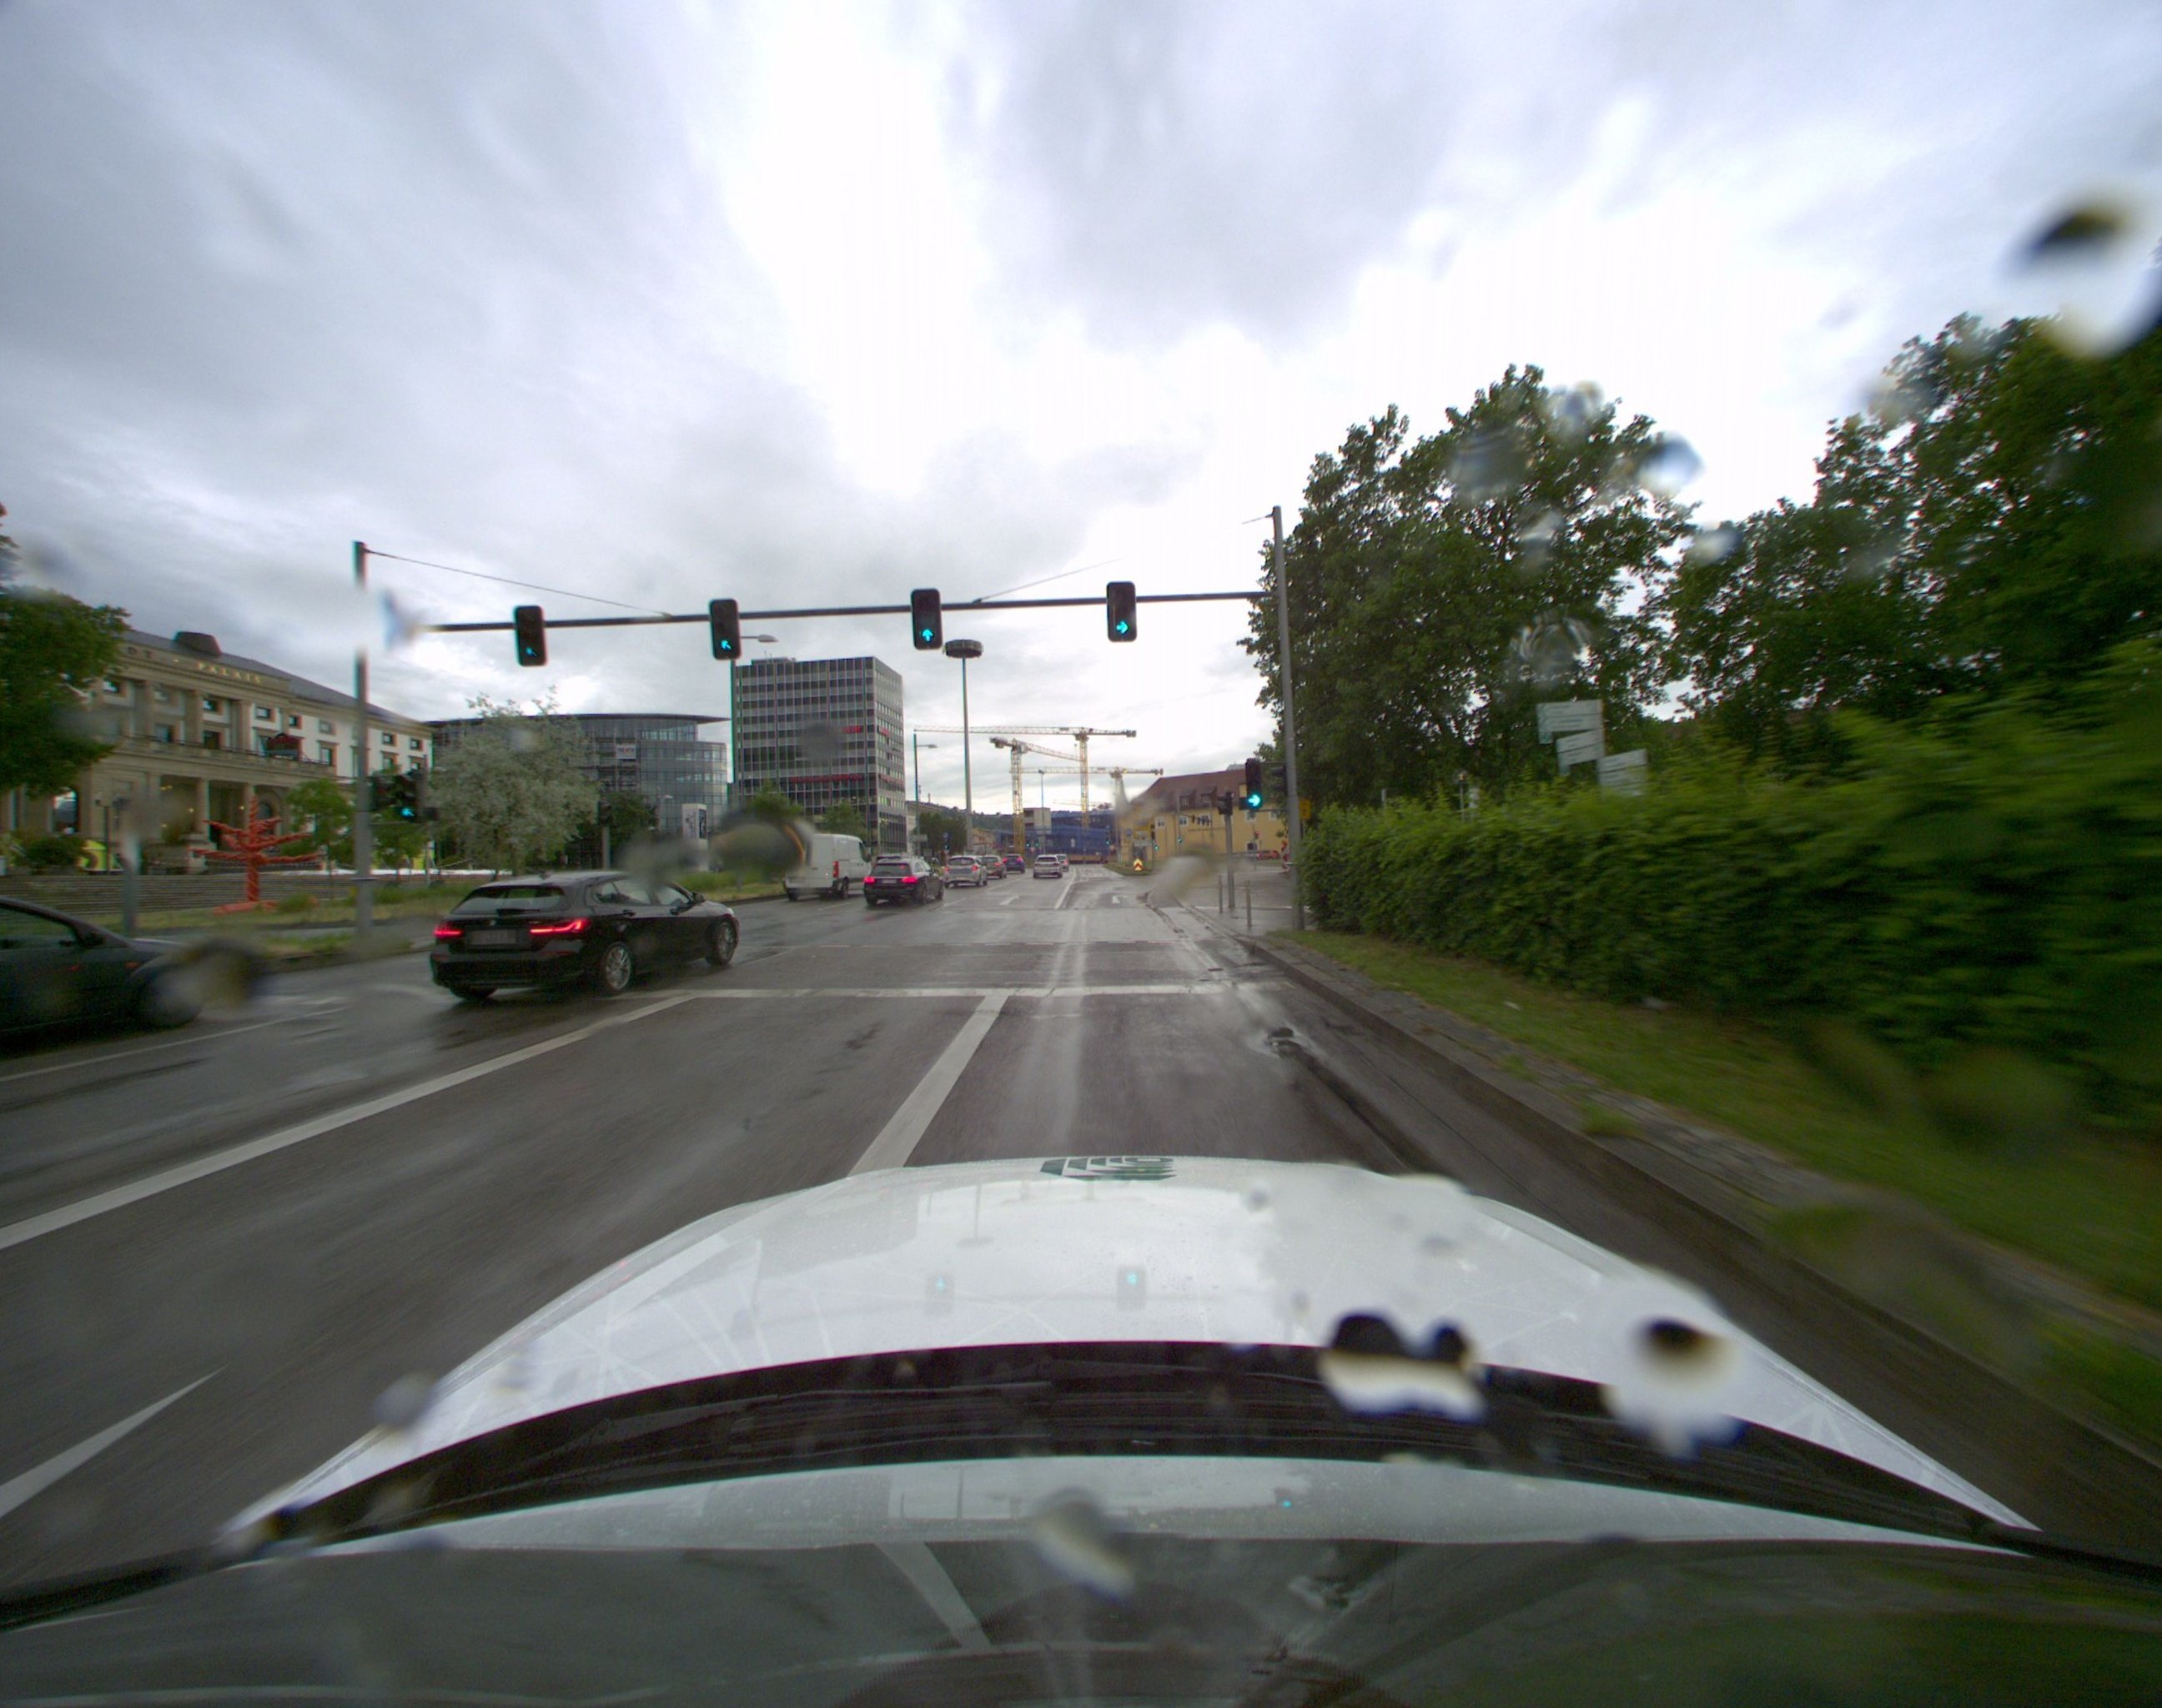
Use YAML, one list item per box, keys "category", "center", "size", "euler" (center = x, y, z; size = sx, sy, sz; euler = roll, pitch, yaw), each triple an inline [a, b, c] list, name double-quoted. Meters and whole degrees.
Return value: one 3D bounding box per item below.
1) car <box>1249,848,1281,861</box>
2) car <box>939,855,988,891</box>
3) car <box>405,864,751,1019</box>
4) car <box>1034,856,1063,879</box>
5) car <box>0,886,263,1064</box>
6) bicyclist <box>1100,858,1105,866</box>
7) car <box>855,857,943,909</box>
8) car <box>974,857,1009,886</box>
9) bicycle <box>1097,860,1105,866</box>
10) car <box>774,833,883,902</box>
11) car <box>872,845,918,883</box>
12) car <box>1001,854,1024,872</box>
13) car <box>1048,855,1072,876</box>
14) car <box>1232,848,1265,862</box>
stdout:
- category: "car"
  center: [22.349, 0.104, 98.866]
  size: [3.368, 1.472, 1.662]
  euler: [-2, -2, 25]
- category: "car"
  center: [-5.561, 0.908, 38.952]
  size: [1.875, 1.653, 3.456]
  euler: [-1, -1, -1]
- category: "car"
  center: [-6.009, 0.923, 10.458]
  size: [1.747, 1.471, 4.222]
  euler: [-1, 0, 0]
- category: "car"
  center: [-2.009, 0.853, 50.738]
  size: [1.437, 1.359, 2.415]
  euler: [-1, -1, 5]
- category: "car"
  center: [-9.595, 1.020, 6.774]
  size: [1.536, 1.415, 3.903]
  euler: [-1, -1, 2]
- category: "bicyclist"
  center: [3.602, 1.388, 139.420]
  size: [0.705, 1.275, 0.631]
  euler: [-1, -2, -14]
- category: "car"
  center: [-5.711, 0.869, 26.014]
  size: [1.822, 1.494, 3.402]
  euler: [-1, 0, 4]
- category: "car"
  center: [-5.548, 1.099, 50.863]
  size: [1.710, 1.727, 3.495]
  euler: [-1, -1, 2]
- category: "bicycle"
  center: [3.484, 1.560, 139.621]
  size: [0.881, 1.010, 1.983]
  euler: [-1, -1, -14]
- category: "car"
  center: [-9.180, 0.519, 30.143]
  size: [2.283, 2.314, 5.008]
  euler: [-1, -1, 2]
- category: "car"
  center: [-8.983, 0.504, 39.526]
  size: [1.459, 1.706, 3.140]
  euler: [-1, -1, 0]
- category: "car"
  center: [-5.456, 0.737, 64.937]
  size: [1.488, 1.369, 3.034]
  euler: [-1, -1, 1]
- category: "car"
  center: [-1.825, 1.026, 72.184]
  size: [1.659, 1.741, 3.294]
  euler: [0, 1, 6]
- category: "car"
  center: [19.339, 0.148, 94.099]
  size: [3.370, 1.482, 1.846]
  euler: [-2, -2, 27]
